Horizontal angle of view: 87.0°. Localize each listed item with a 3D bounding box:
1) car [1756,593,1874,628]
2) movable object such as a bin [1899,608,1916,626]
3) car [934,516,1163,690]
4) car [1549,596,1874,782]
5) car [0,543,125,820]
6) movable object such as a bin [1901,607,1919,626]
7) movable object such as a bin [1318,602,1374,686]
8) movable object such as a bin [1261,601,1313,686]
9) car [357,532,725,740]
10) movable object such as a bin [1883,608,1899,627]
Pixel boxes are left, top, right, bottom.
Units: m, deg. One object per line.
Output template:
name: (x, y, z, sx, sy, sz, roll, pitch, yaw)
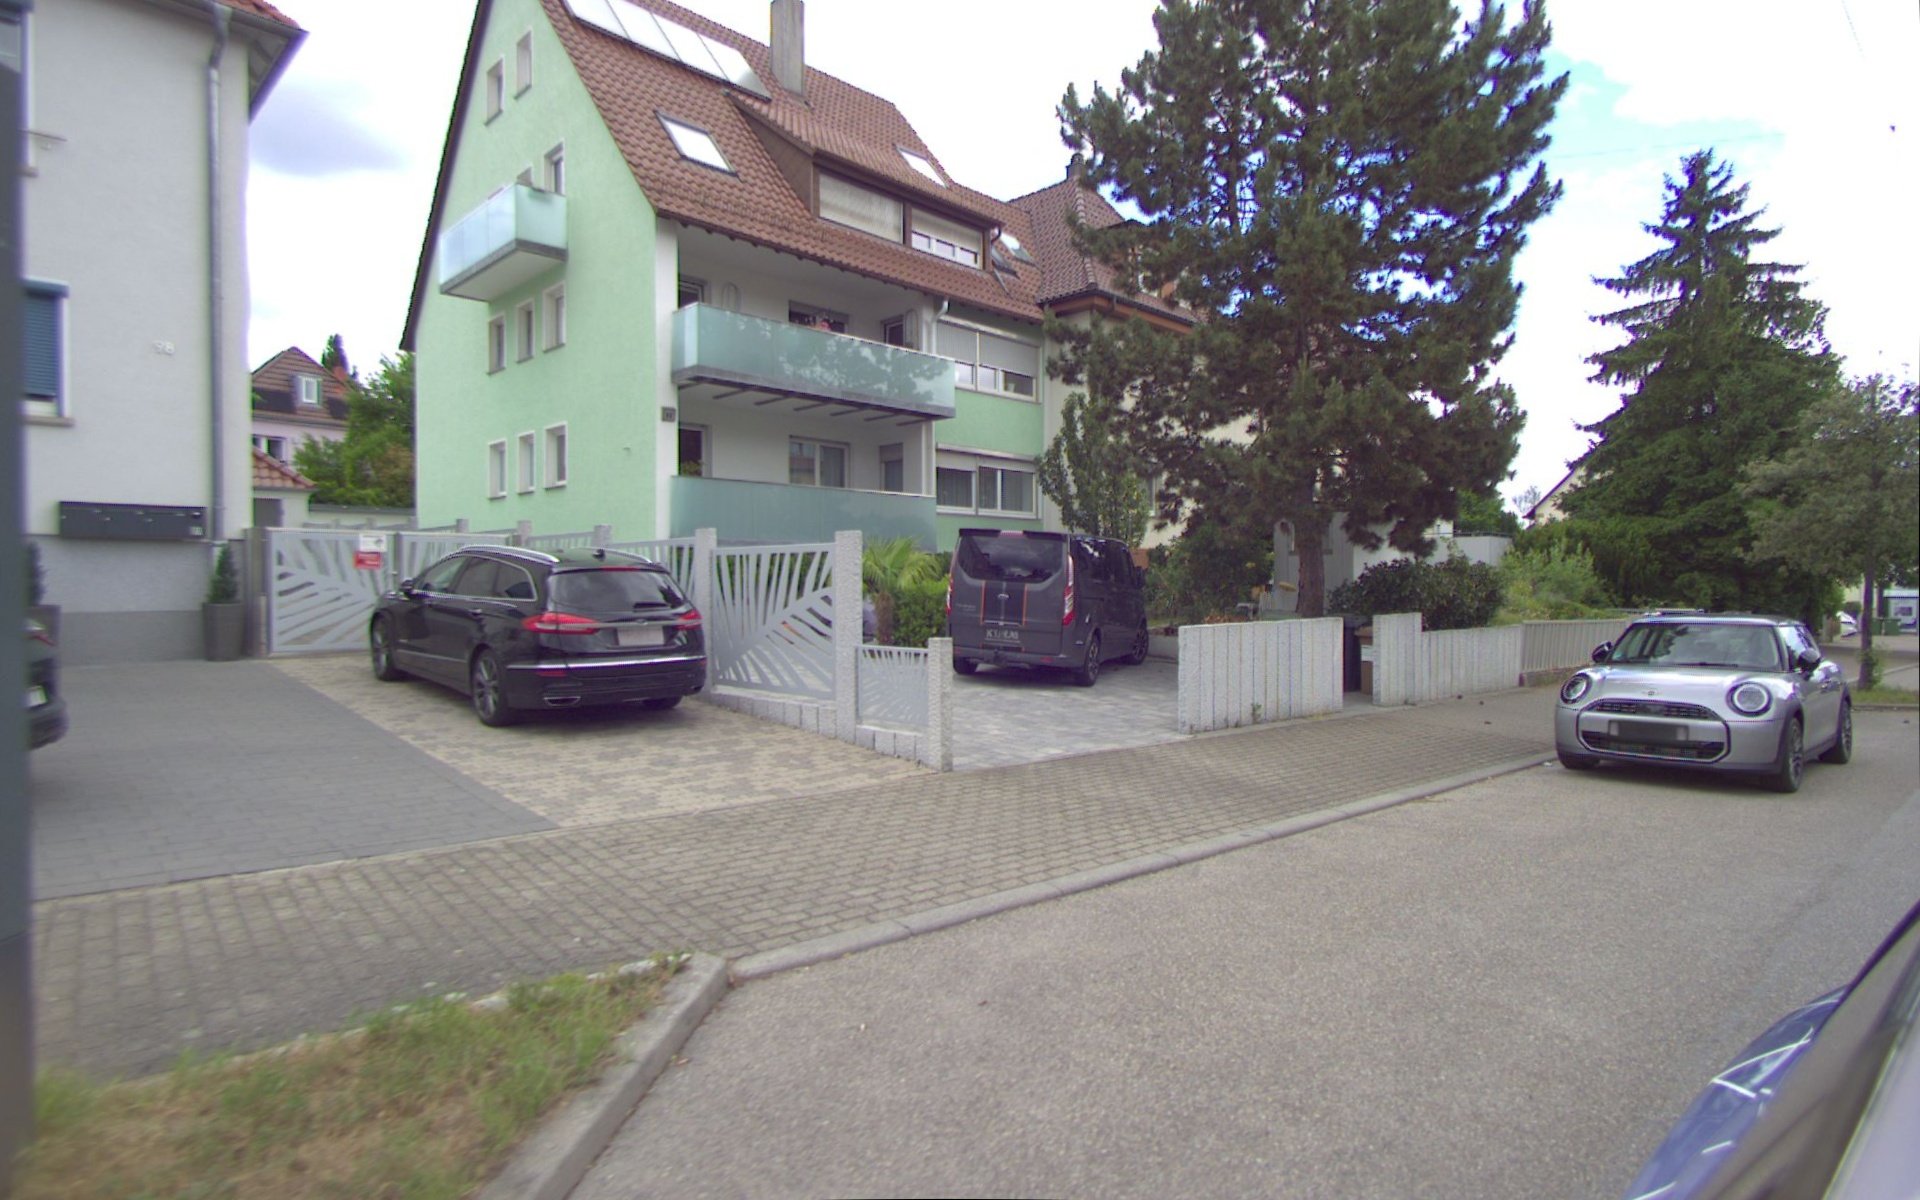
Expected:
car: (44.002, 0.497, 52.181, 1.833, 1.506, 4.427, -1, 3, -42)
movable object such as a bin: (54.773, 0.976, 58.493, 0.635, 1.060, 0.577, -2, 0, 40)
car: (1.488, -0.113, 14.778, 1.956, 2.037, 4.691, 4, 4, 22)
car: (7.199, 0.703, 9.557, 3.929, 1.400, 1.653, 1, -1, -41)
car: (-7.049, 0.412, 4.799, 4.385, 1.398, 1.829, 0, 1, -18)
movable object such as a bin: (55.411, 0.963, 58.931, 0.579, 1.060, 0.639, -1, 0, -17)
movable object such as a bin: (5.371, 0.597, 14.086, 0.589, 1.069, 0.609, 5, 5, 28)
movable object such as a bin: (4.546, 0.596, 14.113, 0.586, 1.069, 0.612, 4, 5, 15)
car: (-4.240, 0.164, 9.877, 4.260, 1.524, 1.670, 5, 5, 42)
movable object such as a bin: (54.251, 1.011, 58.977, 0.635, 1.059, 0.577, 0, 1, 40)
